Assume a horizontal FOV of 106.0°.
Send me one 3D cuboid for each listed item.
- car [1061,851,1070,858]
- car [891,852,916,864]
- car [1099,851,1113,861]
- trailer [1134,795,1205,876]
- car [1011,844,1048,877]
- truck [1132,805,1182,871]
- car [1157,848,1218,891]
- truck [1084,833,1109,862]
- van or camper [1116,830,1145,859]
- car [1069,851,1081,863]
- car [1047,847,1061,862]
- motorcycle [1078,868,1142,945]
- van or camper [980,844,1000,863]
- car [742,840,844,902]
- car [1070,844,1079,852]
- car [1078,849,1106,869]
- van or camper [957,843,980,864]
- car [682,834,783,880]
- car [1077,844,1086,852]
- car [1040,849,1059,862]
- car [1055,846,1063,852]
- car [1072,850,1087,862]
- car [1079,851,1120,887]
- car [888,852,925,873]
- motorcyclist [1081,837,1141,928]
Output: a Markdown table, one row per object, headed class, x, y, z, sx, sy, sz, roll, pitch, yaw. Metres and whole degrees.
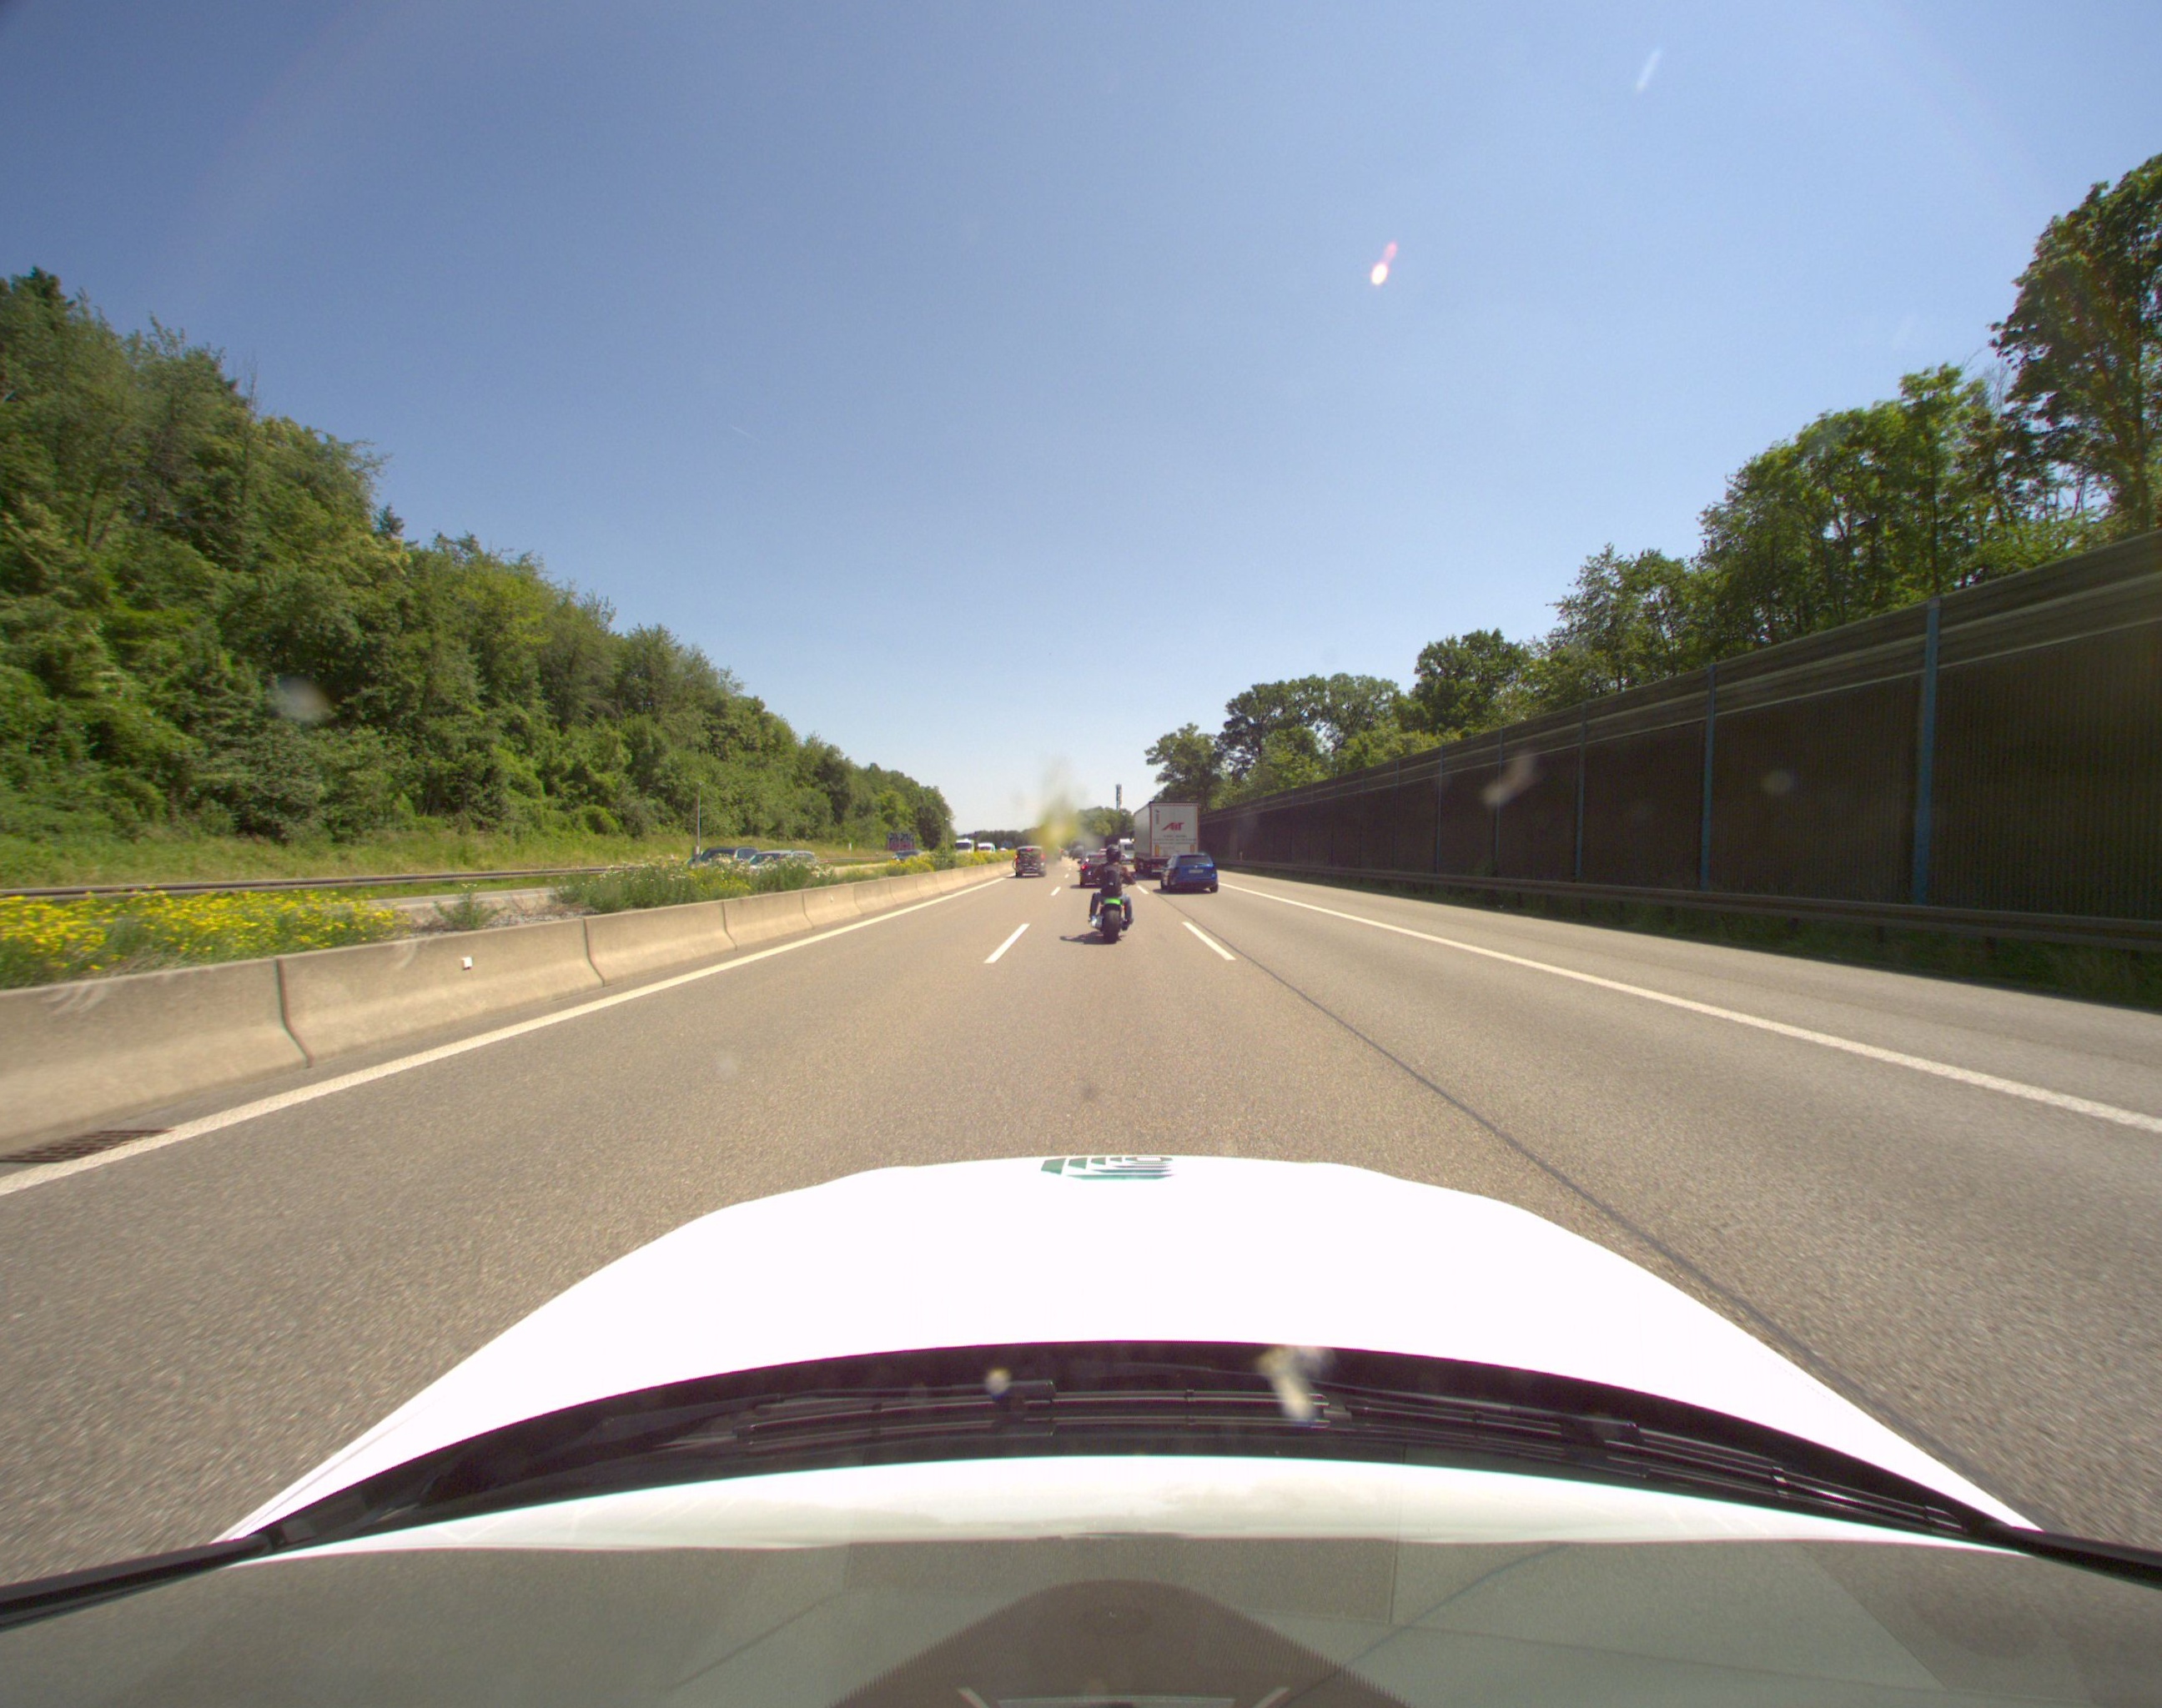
| class | x | y | z | sx | sy | sz | roll | pitch | yaw |
| --- | --- | --- | --- | --- | --- | --- | --- | --- | --- |
| car | -3.301 | 0.123 | 171.914 | 1.827 | 1.496 | 3.741 | -1 | -1 | -2 |
| car | -21.283 | 0.466 | 97.866 | 1.987 | 1.432 | 4.192 | -1 | 0 | 0 |
| car | 3.951 | 0.308 | 129.758 | 1.987 | 1.574 | 3.998 | -1 | -1 | -1 |
| trailer | 4.954 | -0.986 | 48.208 | 2.875 | 4.038 | 13.797 | -1 | 0 | 1 |
| car | -3.059 | 0.413 | 49.154 | 1.893 | 1.873 | 4.412 | -1 | -1 | 0 |
| truck | 5.044 | -1.042 | 55.048 | 2.875 | 4.146 | 5.987 | -1 | 0 | 1 |
| car | 3.940 | 0.582 | 30.729 | 1.646 | 1.483 | 4.479 | -1 | -1 | -1 |
| truck | 2.684 | -1.100 | 146.295 | 3.794 | 4.960 | 8.940 | -1 | -1 | -3 |
| van or camper | 5.063 | -0.898 | 84.950 | 2.676 | 2.813 | 6.803 | -1 | -1 | 1 |
| car | -1.055 | 0.601 | 144.924 | 1.907 | 2.014 | 3.686 | -1 | -1 | -4 |
| car | -3.763 | 0.072 | 112.147 | 1.786 | 2.014 | 3.640 | -1 | -1 | -1 |
| motorcycle | 0.564 | 0.859 | 14.395 | 0.960 | 1.148 | 2.816 | 0 | 0 | 5 |
| van or camper | -14.448 | -0.112 | 129.837 | 2.250 | 2.899 | 6.557 | -1 | 0 | 0 |
| car | -10.071 | 0.576 | 28.829 | 1.985 | 2.014 | 4.003 | -1 | -1 | 3 |
| car | -1.642 | -1.428 | 202.454 | 2.102 | 1.876 | 3.997 | -1 | -1 | -2 |
| car | 0.781 | 0.390 | 60.225 | 1.987 | 1.430 | 3.846 | -1 | -1 | 0 |
| van or camper | -18.588 | -0.044 | 135.349 | 2.532 | 3.317 | 9.000 | -1 | -1 | 0 |
| car | -13.179 | 0.139 | 31.108 | 1.986 | 1.590 | 4.163 | -1 | -1 | 1 |
| car | 0.037 | -1.531 | 196.897 | 2.102 | 1.876 | 3.997 | -1 | -1 | -2 |
| car | -3.404 | 0.181 | 88.616 | 1.987 | 1.387 | 3.999 | -1 | -1 | -1 |
| car | -5.387 | -1.264 | 200.032 | 1.826 | 1.496 | 3.743 | -1 | -1 | 0 |
| car | -0.199 | 0.311 | 116.726 | 1.988 | 1.640 | 3.997 | -1 | -1 | -2 |
| car | 0.807 | 0.644 | 35.469 | 1.656 | 1.453 | 3.869 | -1 | -1 | 1 |
| car | -14.470 | 0.681 | 67.741 | 1.986 | 1.587 | 4.274 | -1 | 0 | 1 |
| motorcyclist | 0.558 | 0.479 | 14.313 | 0.895 | 1.475 | 1.875 | -1 | -1 | 6 |
